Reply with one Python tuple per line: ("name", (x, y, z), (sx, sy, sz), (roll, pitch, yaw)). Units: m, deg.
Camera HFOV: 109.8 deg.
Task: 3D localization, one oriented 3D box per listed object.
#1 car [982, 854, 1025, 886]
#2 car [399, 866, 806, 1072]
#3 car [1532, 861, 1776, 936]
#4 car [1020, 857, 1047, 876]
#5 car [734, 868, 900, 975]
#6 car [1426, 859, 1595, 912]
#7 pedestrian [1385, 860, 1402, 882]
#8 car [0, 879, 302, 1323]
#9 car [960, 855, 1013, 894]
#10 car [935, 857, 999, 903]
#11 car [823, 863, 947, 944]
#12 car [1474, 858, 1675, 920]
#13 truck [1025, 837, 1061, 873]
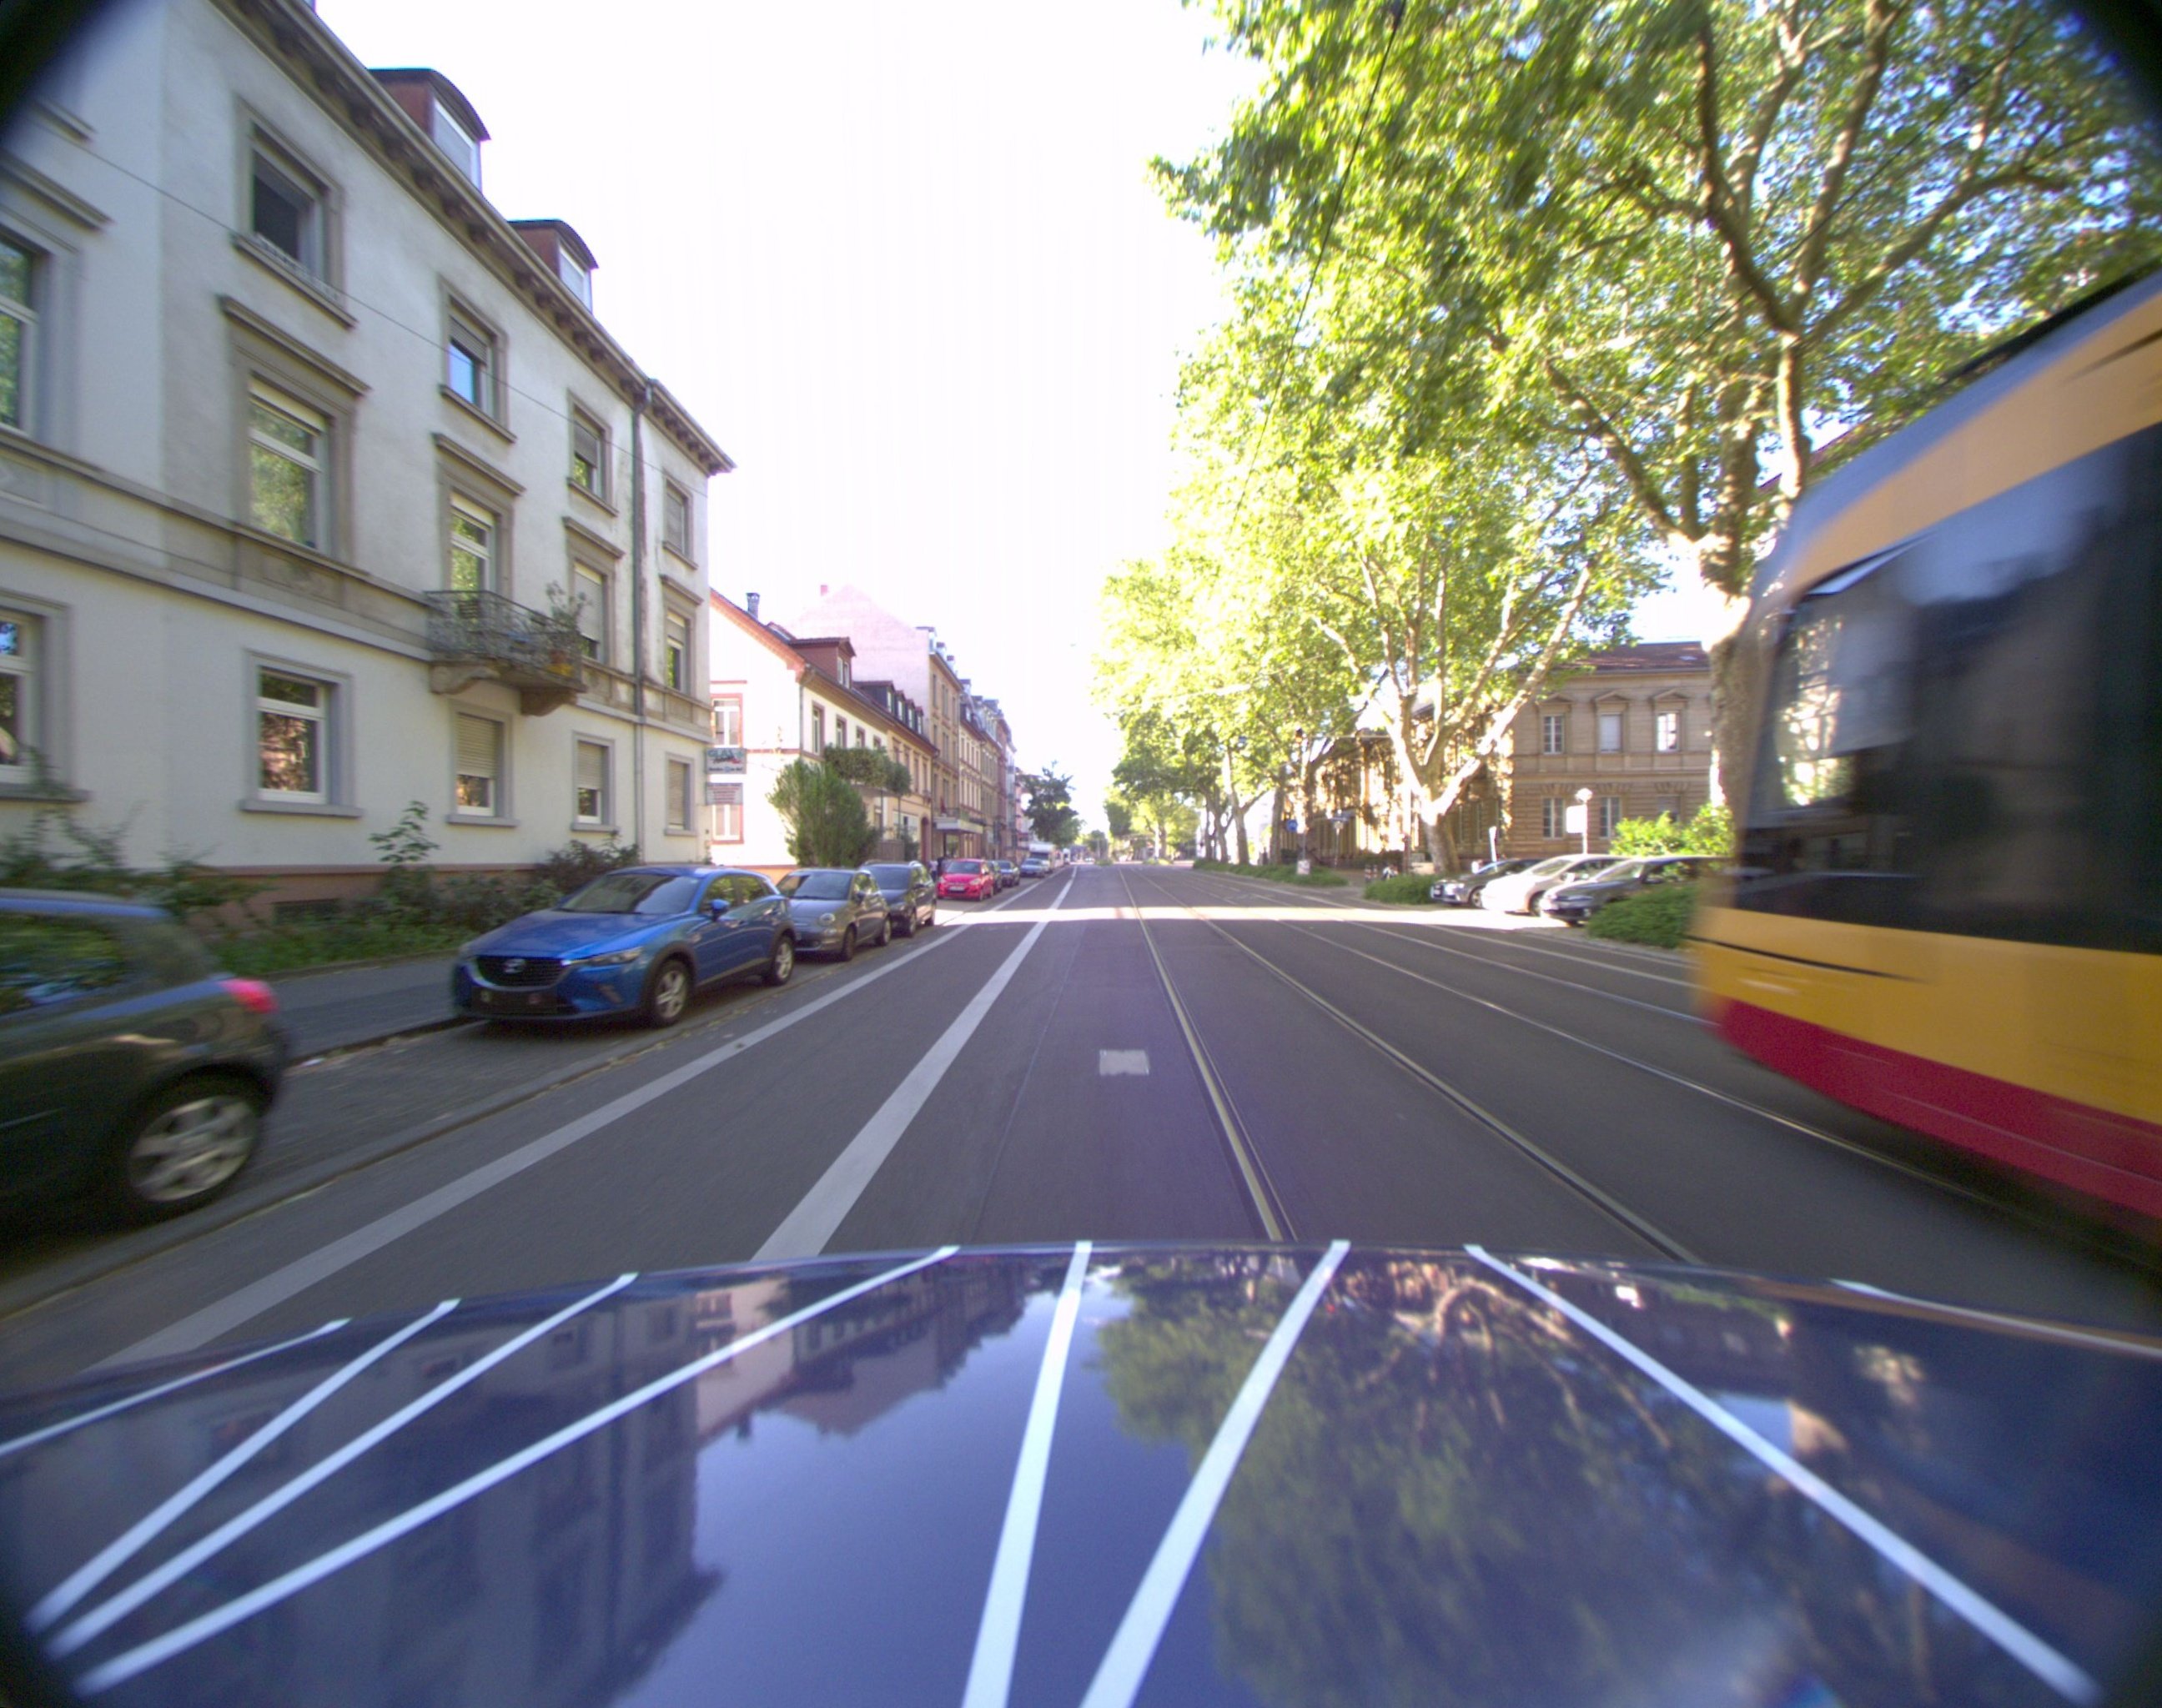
("car", (-4.061, 0.792, 40.191), (1.702, 1.559, 3.687), (1, 0, 2))
("car", (-4.662, 0.979, 8.214), (1.729, 1.497, 3.908), (4, 0, 2))
("car", (11.844, 0.886, 15.860), (3.998, 1.422, 1.528), (-1, 1, -2))
("car", (-3.641, 0.939, 59.226), (1.702, 1.324, 3.687), (1, 0, 2))
("car", (-4.362, 1.046, 13.073), (1.542, 1.497, 3.359), (1, 0, 2))
("car", (12.027, 0.865, 21.410), (3.998, 1.367, 1.411), (-1, 1, -2))
("pedestrian", (11.074, 0.597, 26.904), (0.424, 0.746, 0.420), (-1, 1, 1))
("car", (-4.767, 0.933, 1.842), (1.635, 1.497, 3.907), (4, 0, 1))
("car", (-4.155, 0.868, 33.856), (1.702, 1.559, 3.687), (1, 0, 2))
("car", (-4.252, 0.930, 28.770), (1.702, 1.559, 3.687), (1, 0, 2))
("car", (-4.316, 1.028, 17.318), (1.729, 1.559, 3.687), (1, 0, 2))
("car", (12.135, 0.831, 18.835), (3.998, 1.422, 1.601), (-1, 1, -2))
("truck", (-3.575, 0.038, 73.433), (2.842, 3.145, 7.292), (-2, 1, 1))
